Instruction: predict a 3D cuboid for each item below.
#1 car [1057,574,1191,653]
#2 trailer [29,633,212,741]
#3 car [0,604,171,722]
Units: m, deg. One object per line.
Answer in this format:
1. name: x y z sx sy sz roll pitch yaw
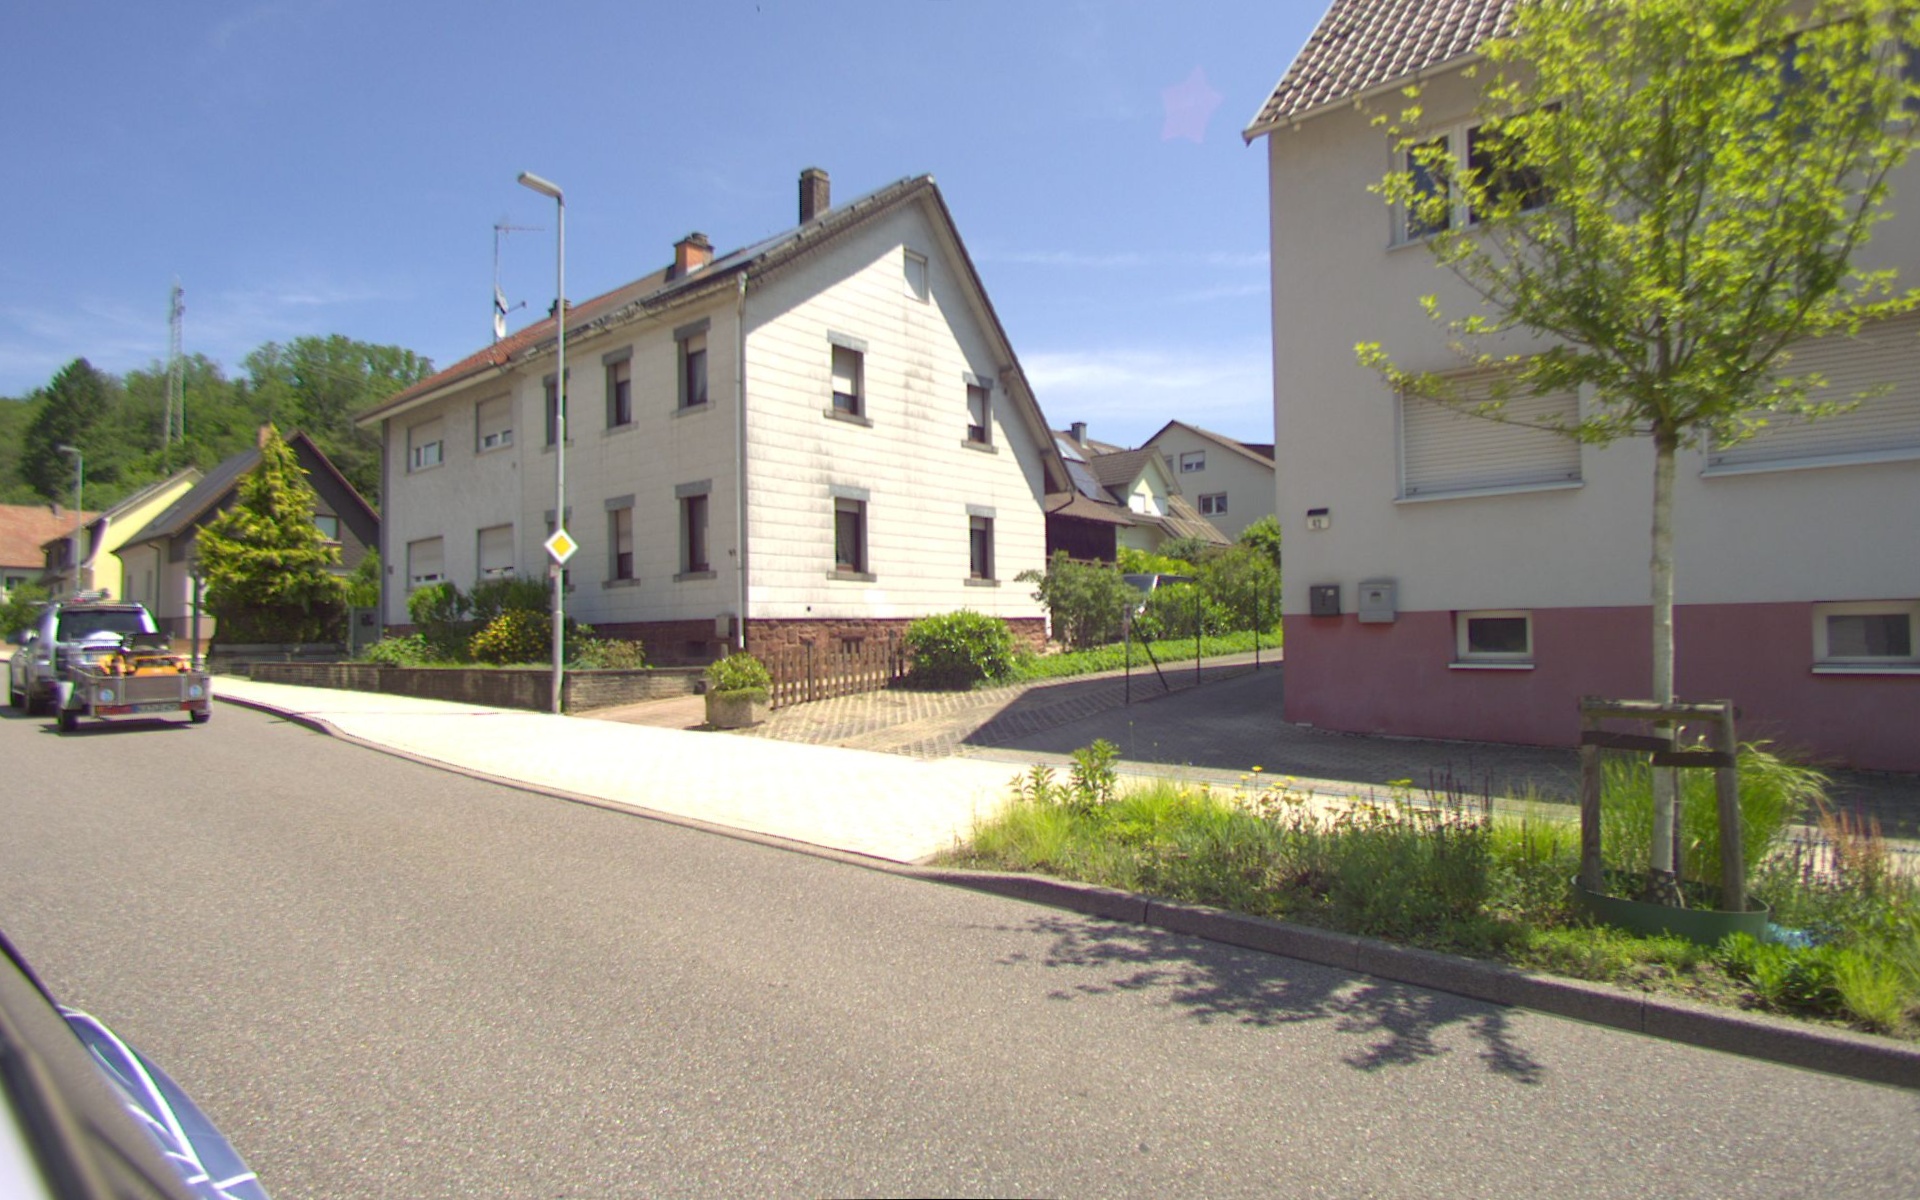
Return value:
1. car: 4.345 0.426 26.241 1.993 1.847 4.283 -1 -3 31
2. trailer: -12.872 1.213 15.425 4.402 1.406 1.557 -2 -2 43
3. car: -15.925 1.071 18.280 4.577 1.875 1.869 -2 -3 42
